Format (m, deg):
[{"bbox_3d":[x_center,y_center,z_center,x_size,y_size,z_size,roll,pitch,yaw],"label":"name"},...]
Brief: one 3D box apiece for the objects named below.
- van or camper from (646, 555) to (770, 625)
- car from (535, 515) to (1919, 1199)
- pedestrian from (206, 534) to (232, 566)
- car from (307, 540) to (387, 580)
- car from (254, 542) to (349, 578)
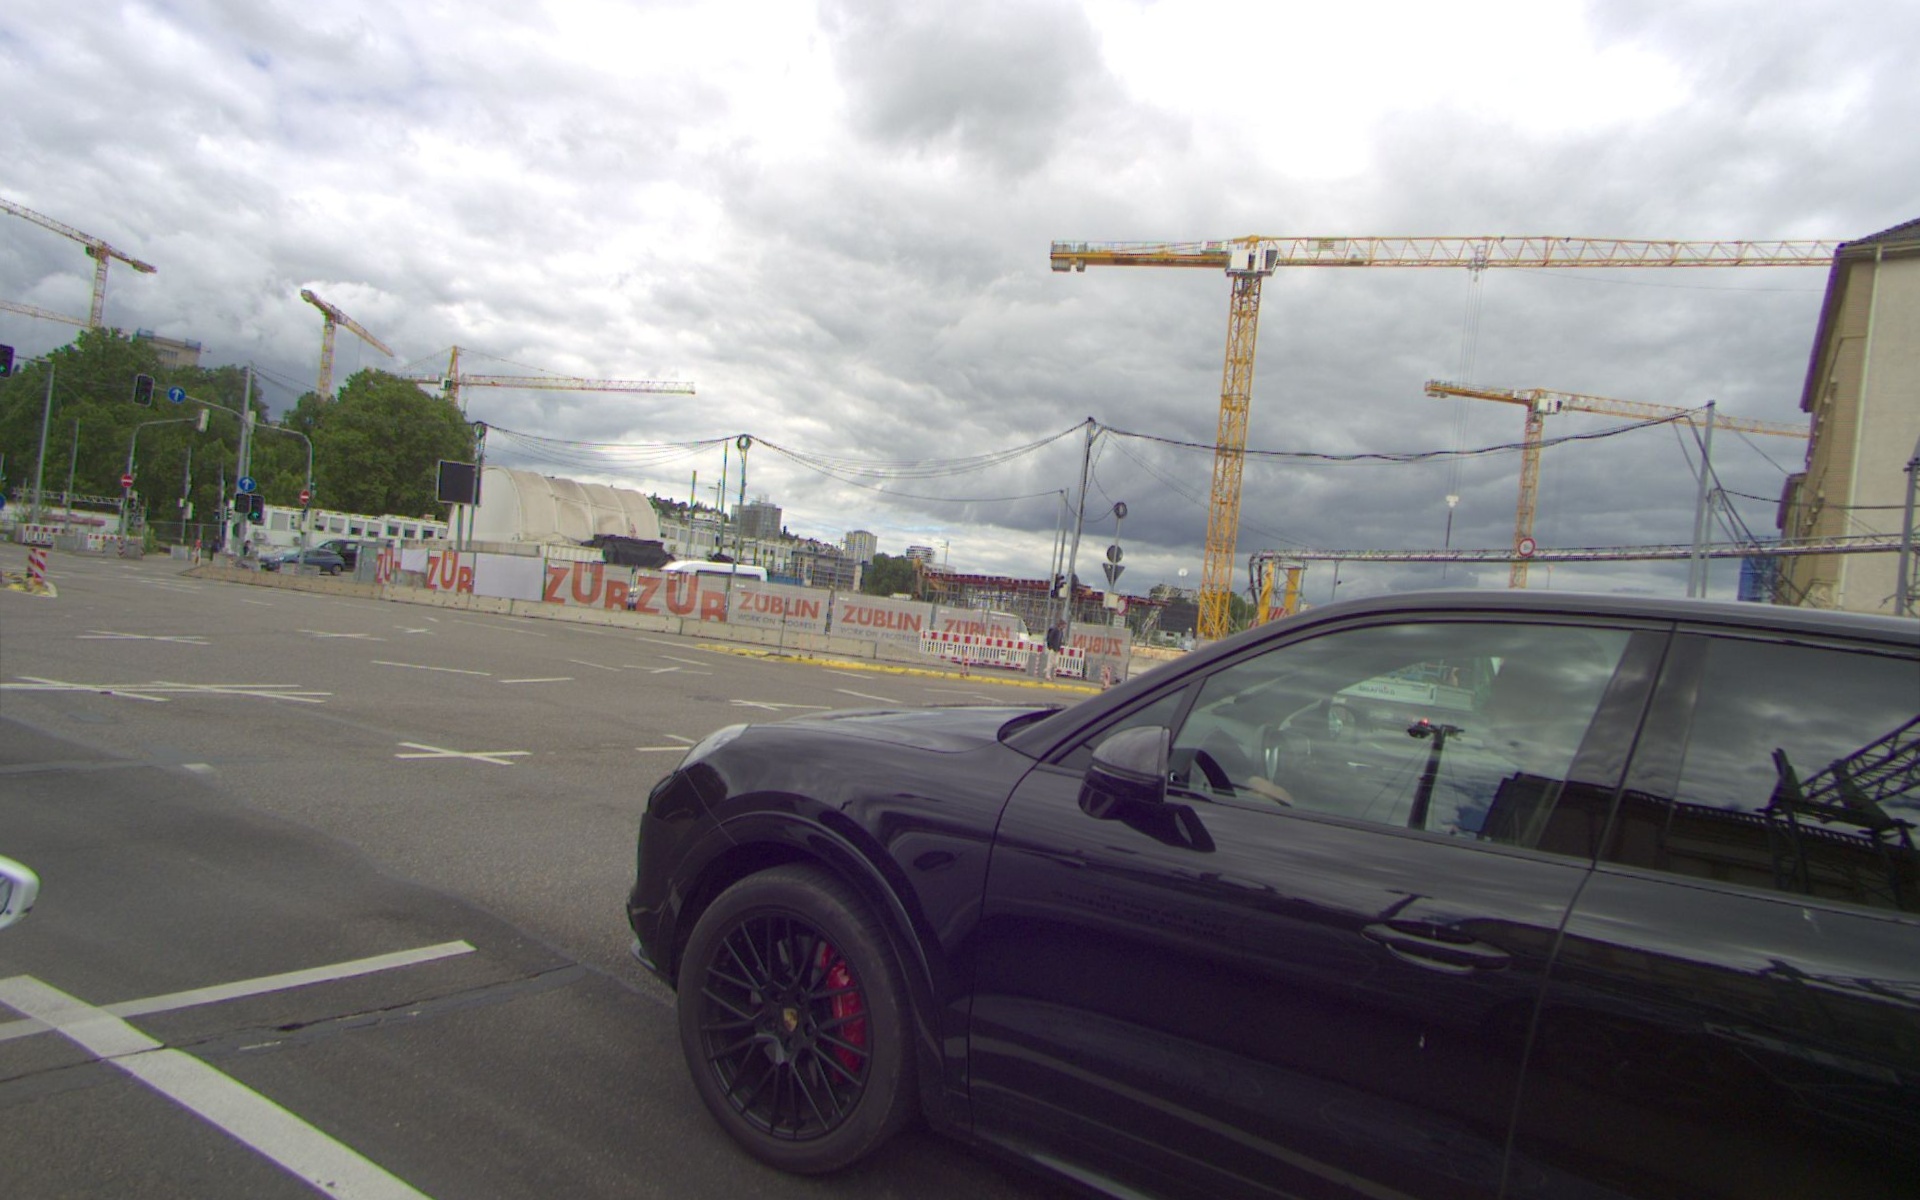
[{"bbox_3d":[-9.430,-0.379,37.670,3.958,2.255,1.983,5,0,-33],"label":"van or camper"},{"bbox_3d":[1.243,0.826,2.556,4.533,1.668,1.952,5,0,32],"label":"car"},{"bbox_3d":[-39.236,-2.648,53.271,0.835,1.612,0.623,5,0,17],"label":"pedestrian"},{"bbox_3d":[-40.060,-2.600,65.804,1.962,2.037,4.003,7,-1,18],"label":"car"},{"bbox_3d":[-36.218,-2.183,55.425,1.753,1.452,4.069,6,-1,20],"label":"car"}]
